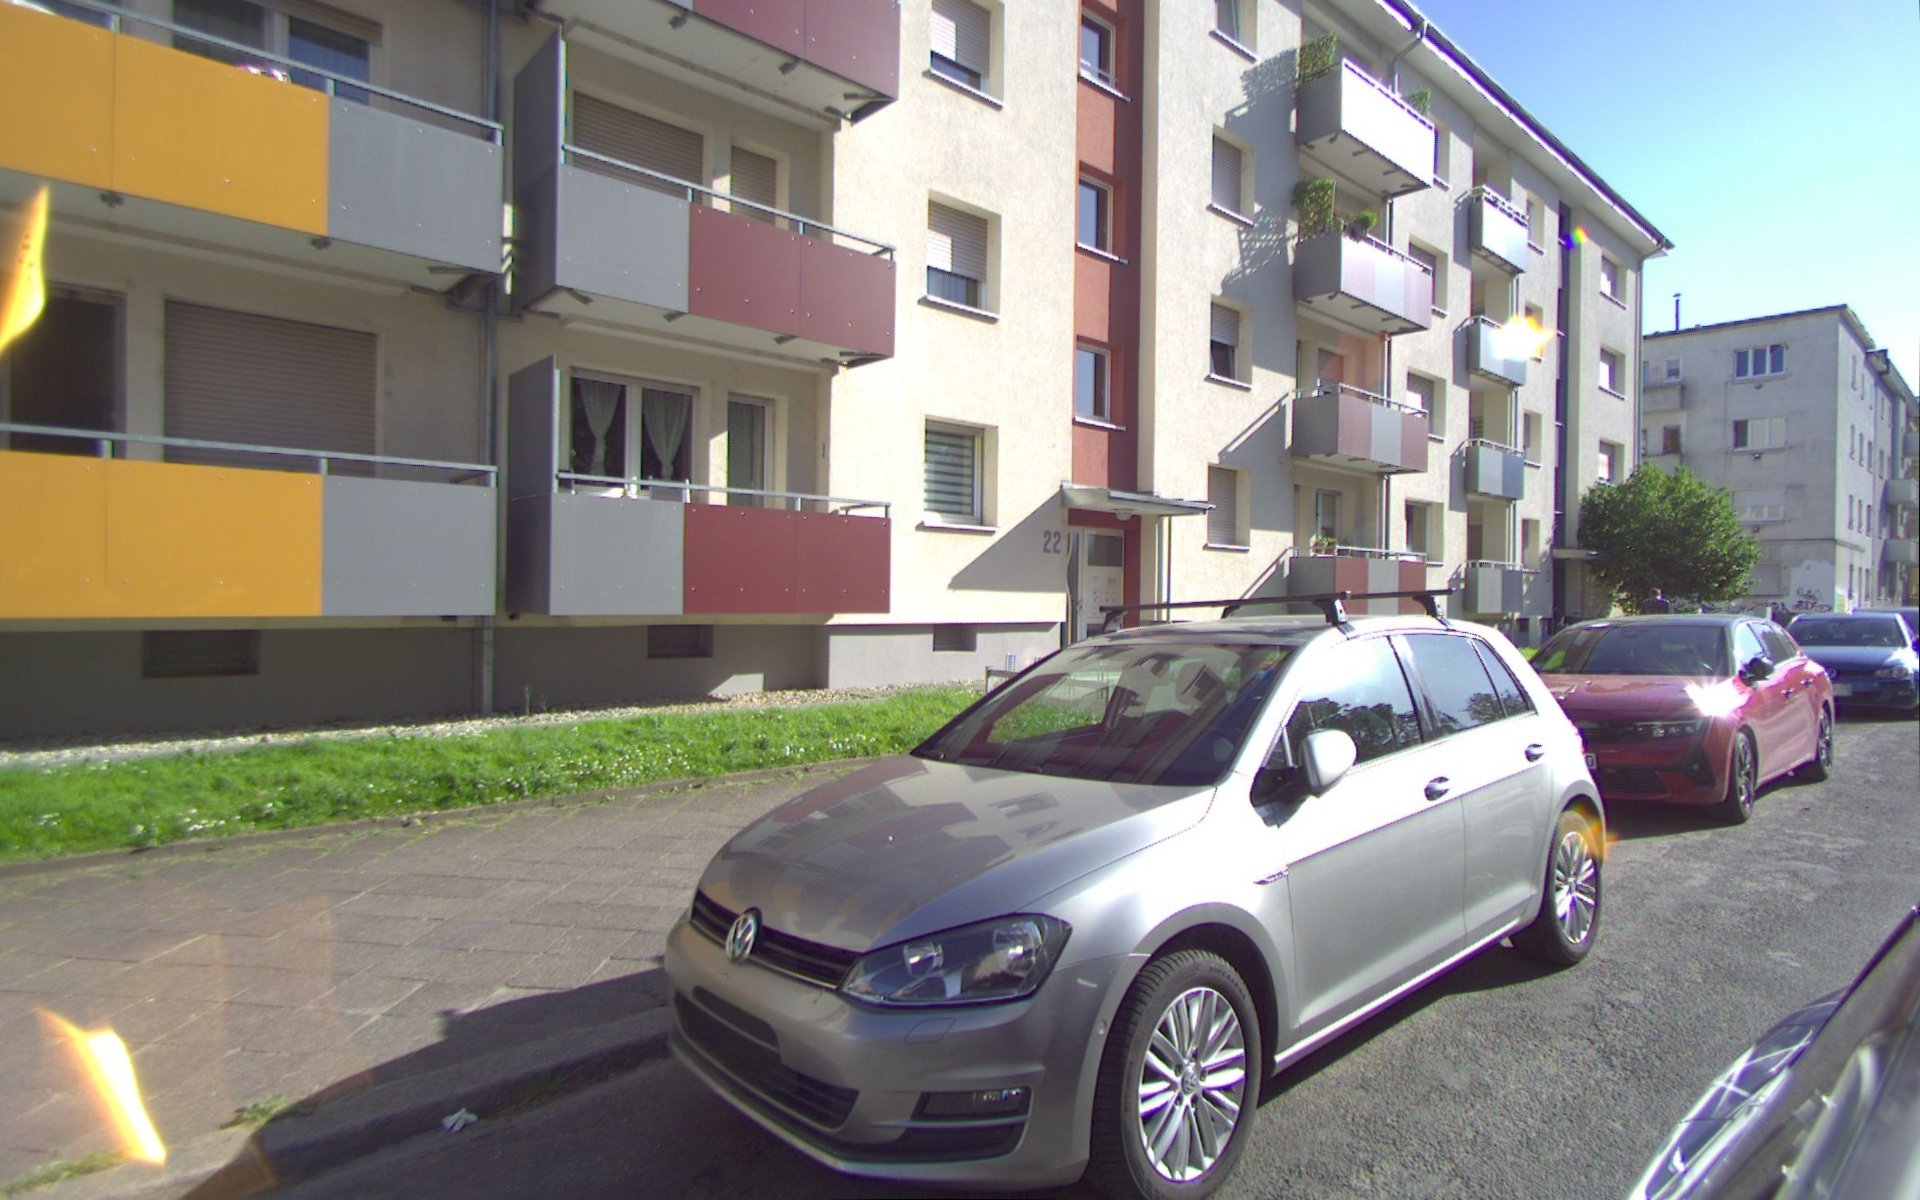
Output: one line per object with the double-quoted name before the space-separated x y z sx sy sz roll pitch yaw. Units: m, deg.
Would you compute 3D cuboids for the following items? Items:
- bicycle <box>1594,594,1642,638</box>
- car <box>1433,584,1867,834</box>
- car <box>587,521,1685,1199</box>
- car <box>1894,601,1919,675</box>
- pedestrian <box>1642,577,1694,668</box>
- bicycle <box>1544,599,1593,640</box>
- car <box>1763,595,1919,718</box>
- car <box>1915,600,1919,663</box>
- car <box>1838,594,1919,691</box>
"bicycle" 16.295 0.393 25.026 0.485 1.024 2.246 5 3 45
"car" 5.831 0.686 8.323 4.442 1.461 1.757 1 2 -40
"car" 1.148 0.692 3.972 4.524 1.642 1.901 1 0 -43
"car" 21.390 0.832 21.741 3.733 1.502 1.607 1 2 -43
"pedestrian" 14.502 0.449 20.733 0.826 1.793 0.646 1 2 -43
"bicycle" 15.611 0.489 25.937 0.485 0.972 2.246 5 3 45
"car" 13.173 0.731 14.749 4.012 1.499 1.754 1 2 -44
"car" 25.859 0.832 26.002 4.016 1.567 1.620 0 3 -43
"car" 17.464 0.734 18.482 4.184 1.578 1.754 1 2 -44
